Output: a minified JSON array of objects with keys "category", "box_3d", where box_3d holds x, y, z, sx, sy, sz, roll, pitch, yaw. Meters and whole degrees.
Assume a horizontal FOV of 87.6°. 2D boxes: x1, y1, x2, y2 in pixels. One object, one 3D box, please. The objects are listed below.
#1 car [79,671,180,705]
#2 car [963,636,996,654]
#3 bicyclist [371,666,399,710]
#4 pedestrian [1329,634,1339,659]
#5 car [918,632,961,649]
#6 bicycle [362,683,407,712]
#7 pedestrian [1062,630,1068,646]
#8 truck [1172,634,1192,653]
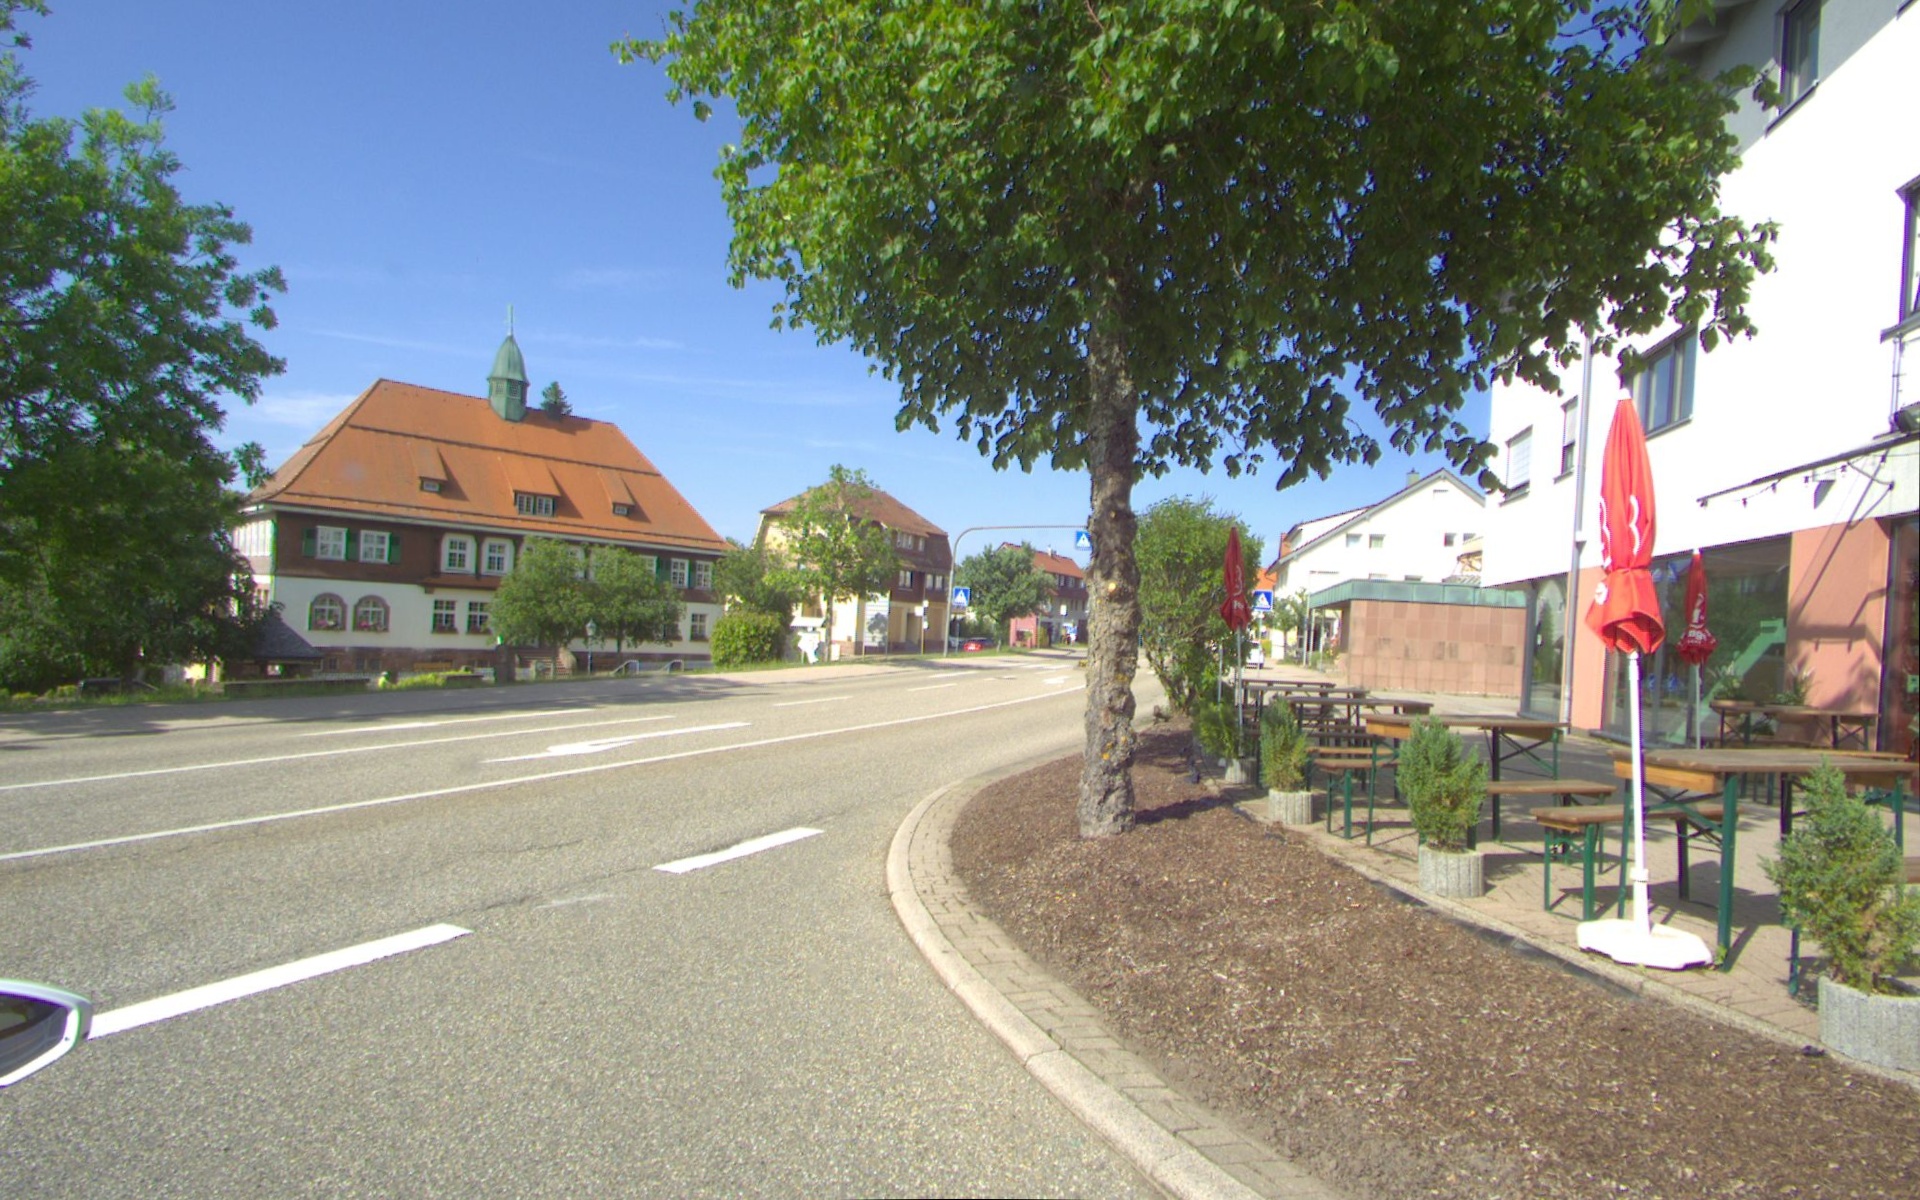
[{"category":"car","box_3d":[-41.616,4.376,50.221,1.696,1.463,3.751,-2,-2,44]},{"category":"car","box_3d":[1.639,3.700,82.058,1.744,1.451,3.710,-1,-2,17]},{"category":"bicyclist","box_3d":[-25.953,3.951,45.200,0.988,1.949,0.577,1,-2,-43]},{"category":"pedestrian","box_3d":[24.046,2.978,64.451,0.557,1.613,0.484,0,-1,16]},{"category":"car","box_3d":[-1.917,3.776,92.871,3.648,1.451,1.774,-2,-2,19]},{"category":"bicycle","box_3d":[-25.963,4.376,45.180,1.711,1.205,0.533,1,-2,-43]},{"category":"pedestrian","box_3d":[11.851,4.340,113.477,0.489,1.771,0.587,-1,-1,31]},{"category":"truck","box_3d":[28.987,5.652,130.677,1.963,2.372,6.488,2,-1,16]}]
